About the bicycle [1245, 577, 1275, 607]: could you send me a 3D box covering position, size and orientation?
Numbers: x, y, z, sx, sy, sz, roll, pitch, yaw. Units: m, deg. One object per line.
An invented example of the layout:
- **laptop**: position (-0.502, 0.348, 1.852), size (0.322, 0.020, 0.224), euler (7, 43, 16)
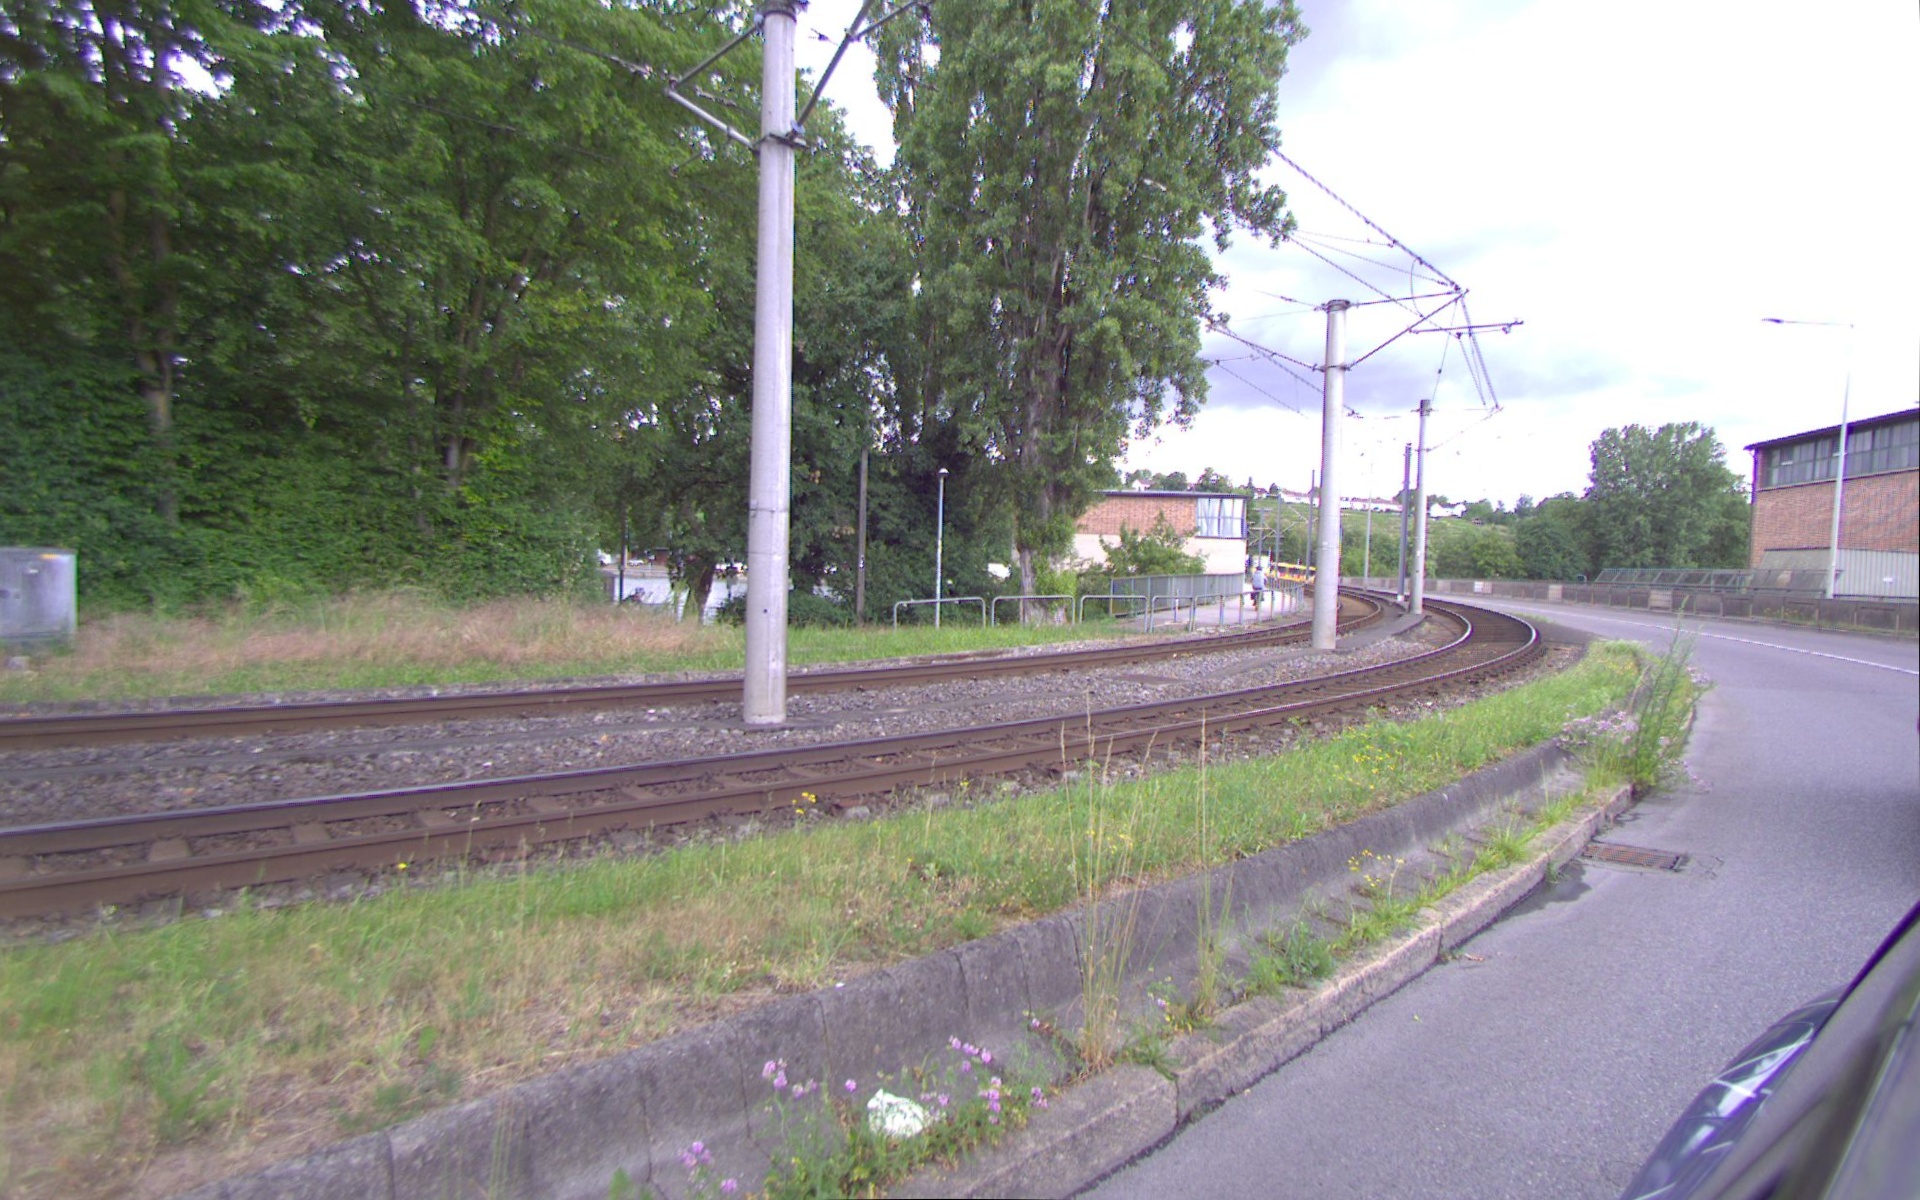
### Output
- **bicycle**: position (10.796, -0.289, 36.362), size (0.424, 1.063, 2.054), euler (1, 1, 34)

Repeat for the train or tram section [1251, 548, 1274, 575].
- **train or tram section**: position (46.249, -5.869, 154.792), size (2.989, 3.966, 9.402), euler (2, 3, 15)

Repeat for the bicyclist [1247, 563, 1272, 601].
- **bicyclist**: position (10.778, -0.649, 36.385), size (0.591, 1.377, 0.899), euler (1, 1, 34)

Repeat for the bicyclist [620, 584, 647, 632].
- **bicyclist**: position (-7.626, 0.174, 23.639), size (0.465, 1.097, 0.417), euler (2, 1, -1)
